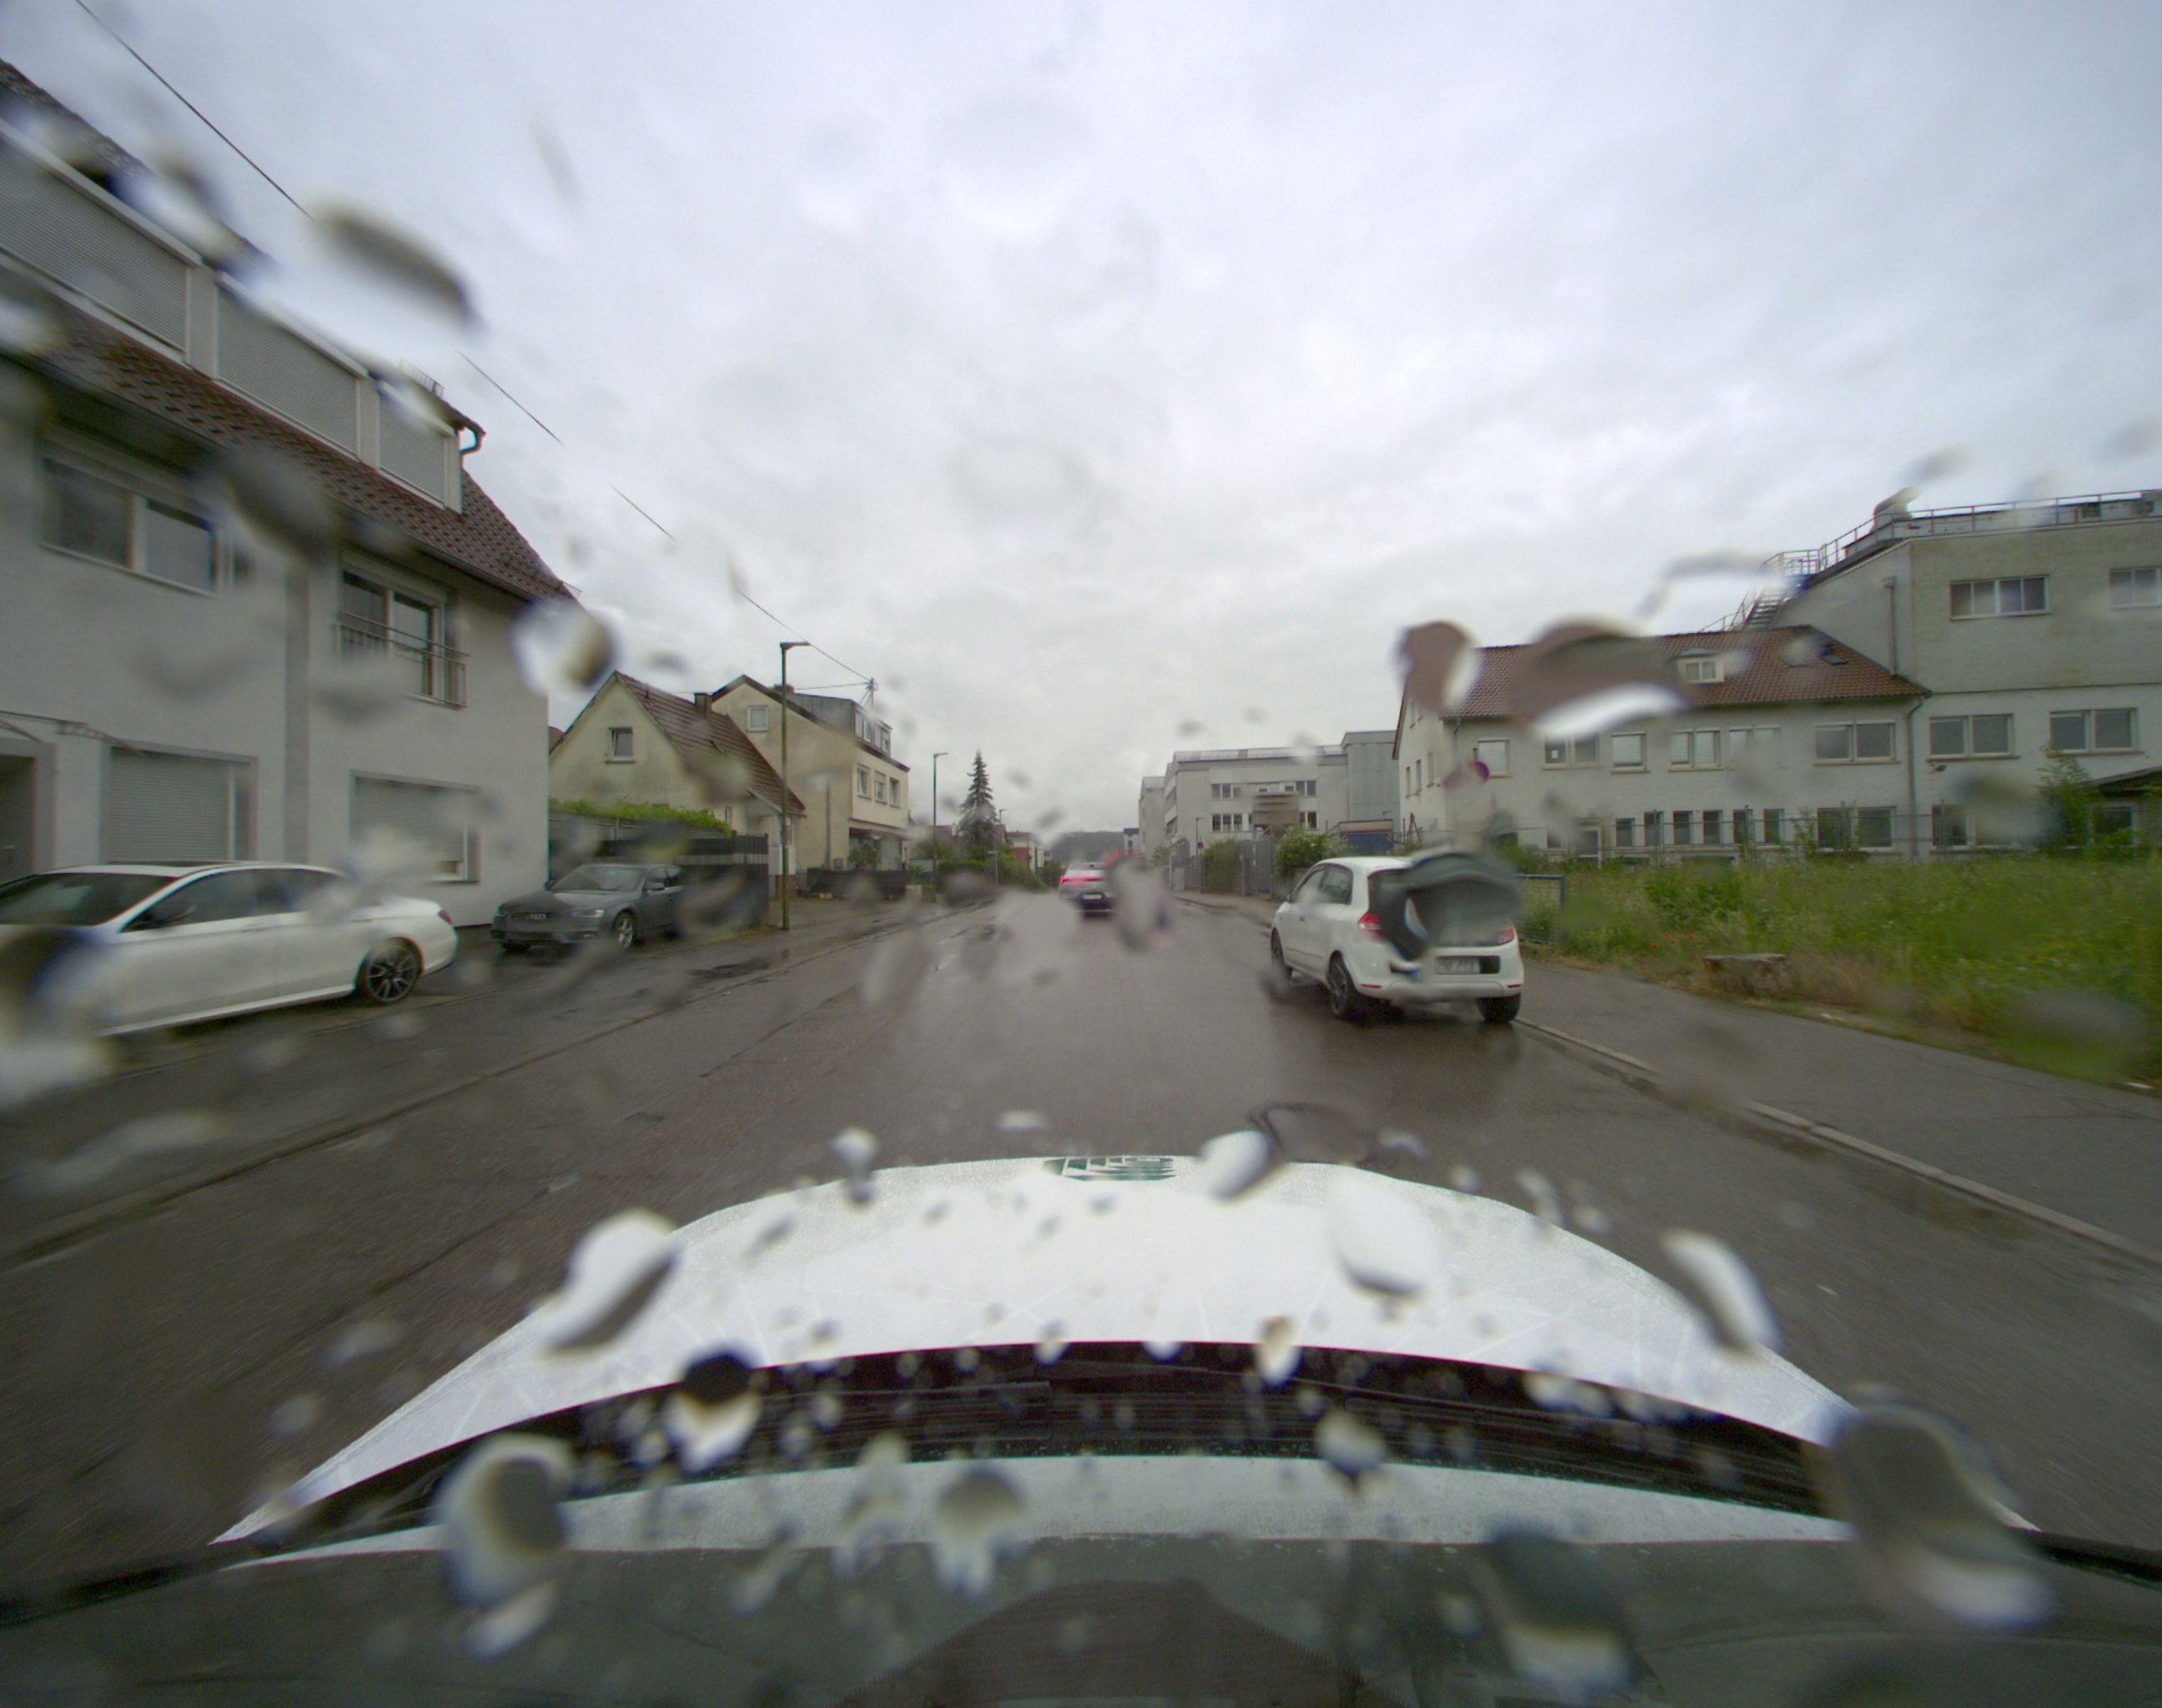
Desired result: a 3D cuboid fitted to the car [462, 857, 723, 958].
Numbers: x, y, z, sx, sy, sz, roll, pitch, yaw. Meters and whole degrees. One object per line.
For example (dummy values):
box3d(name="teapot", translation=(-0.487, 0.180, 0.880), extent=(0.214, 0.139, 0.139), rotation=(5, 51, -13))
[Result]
box3d(name="car", translation=(-8.053, 0.789, 14.044), extent=(1.822, 1.368, 4.566), rotation=(2, 0, -2))

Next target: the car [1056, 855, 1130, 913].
box3d(name="car", translation=(0.355, 0.827, 24.563), extent=(1.987, 1.502, 4.670), rotation=(-1, 0, 1))

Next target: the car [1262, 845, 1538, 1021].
box3d(name="car", translation=(3.248, 0.699, 9.089), extent=(1.676, 1.557, 3.674), rotation=(0, 0, 0))

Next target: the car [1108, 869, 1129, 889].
box3d(name="car", translation=(4.134, 2.834, 90.289), extent=(1.989, 2.014, 3.995), rotation=(-2, -3, -3))

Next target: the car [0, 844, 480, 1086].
box3d(name="car", translation=(-7.952, 0.707, 6.896), extent=(1.987, 1.510, 4.896), rotation=(2, 0, 1))

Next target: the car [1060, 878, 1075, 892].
box3d(name="car", translation=(-1.588, 3.606, 95.498), extent=(1.670, 1.528, 3.999), rotation=(-1, -2, 0))
